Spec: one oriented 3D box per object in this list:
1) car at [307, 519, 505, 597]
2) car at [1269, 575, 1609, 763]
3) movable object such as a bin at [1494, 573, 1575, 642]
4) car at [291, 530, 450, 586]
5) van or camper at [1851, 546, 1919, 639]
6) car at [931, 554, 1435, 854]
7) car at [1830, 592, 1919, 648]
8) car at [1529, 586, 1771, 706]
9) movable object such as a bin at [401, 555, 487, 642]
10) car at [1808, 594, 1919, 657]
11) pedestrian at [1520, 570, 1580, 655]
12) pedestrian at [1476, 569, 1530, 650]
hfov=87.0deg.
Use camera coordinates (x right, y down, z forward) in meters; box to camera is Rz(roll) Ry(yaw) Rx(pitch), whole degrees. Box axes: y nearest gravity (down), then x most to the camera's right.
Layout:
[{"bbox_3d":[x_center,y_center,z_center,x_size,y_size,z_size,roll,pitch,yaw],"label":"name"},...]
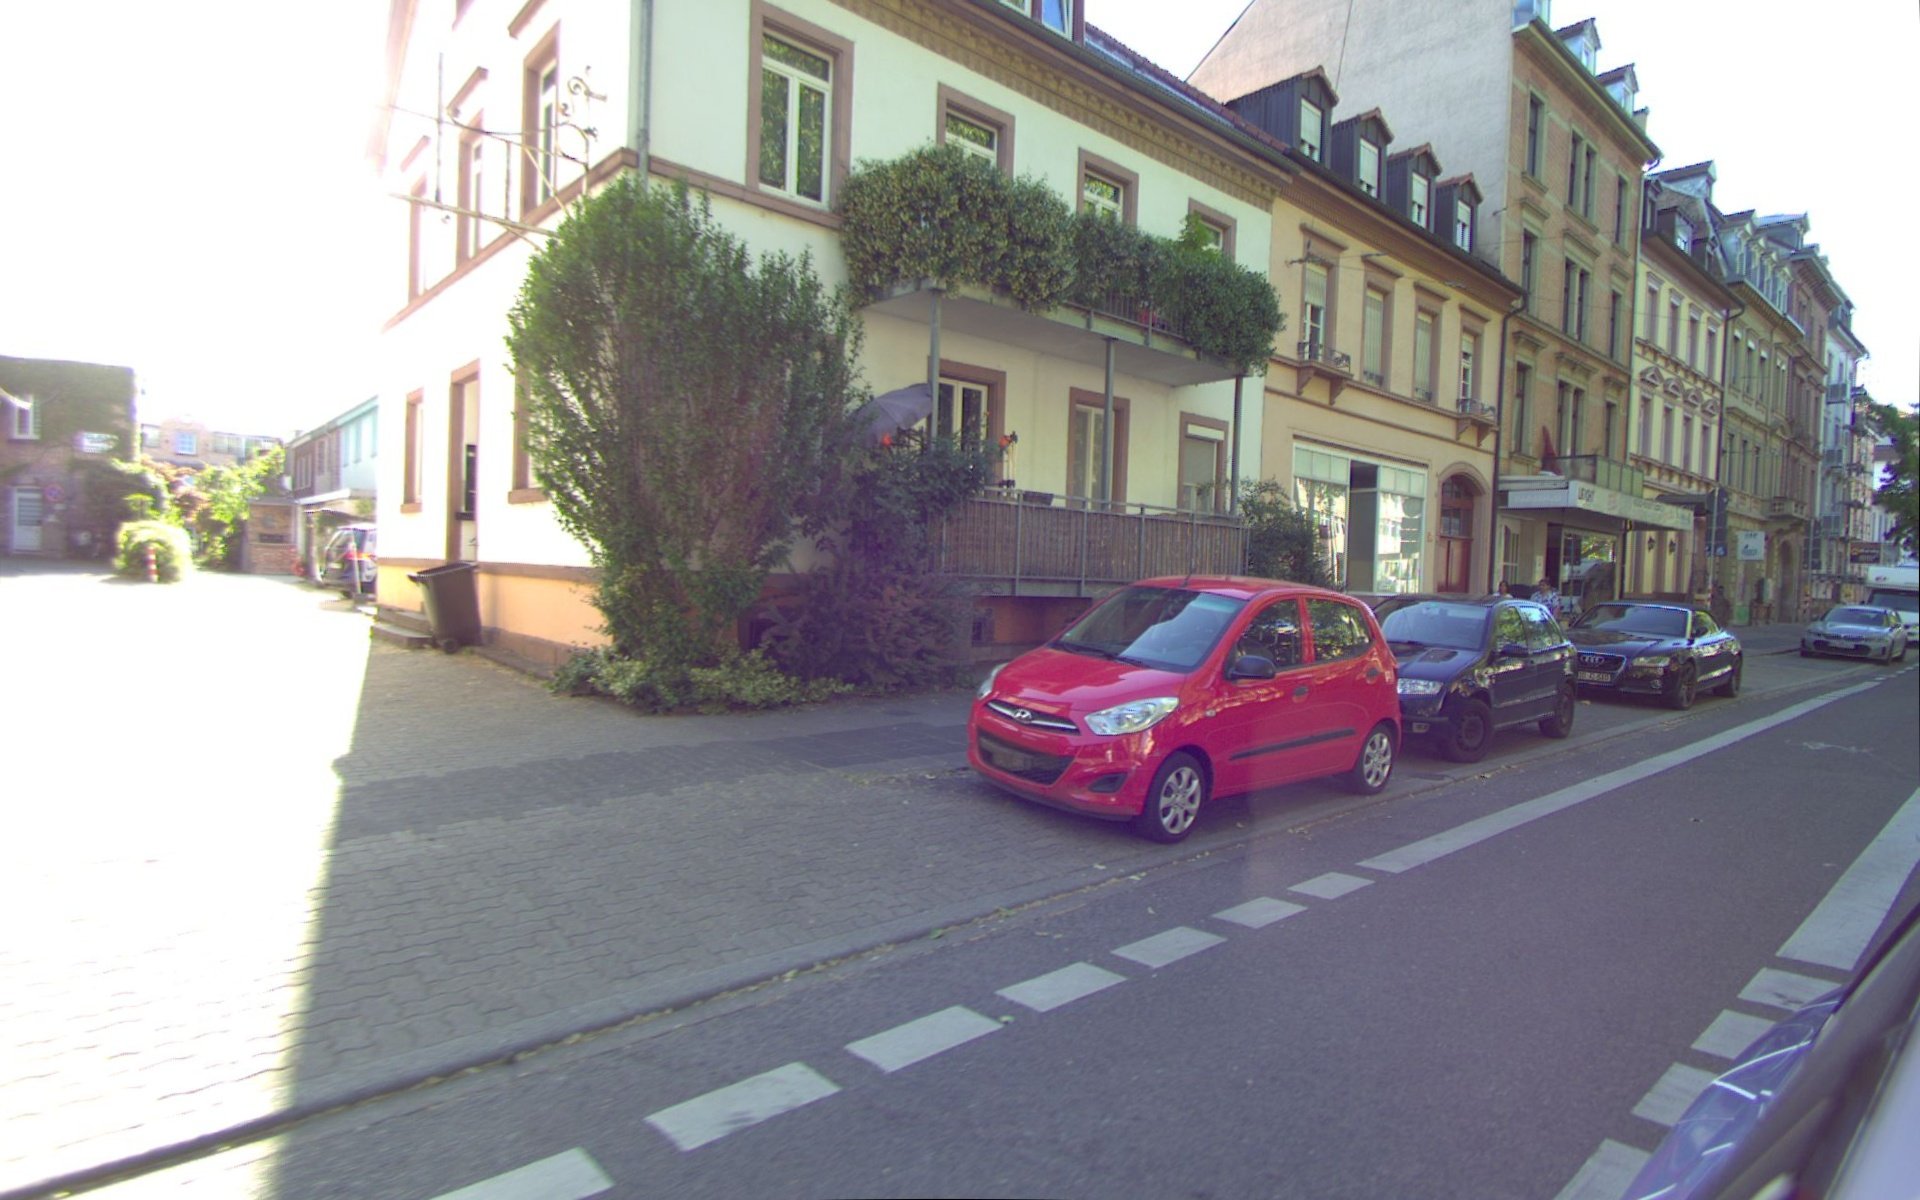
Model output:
[{"bbox_3d":[-12.074,-0.895,22.160,3.514,1.565,1.622,0,4,-42],"label":"car"},{"bbox_3d":[4.933,0.550,10.210,3.800,1.474,1.655,0,4,-41],"label":"car"},{"bbox_3d":[13.690,0.161,24.128,1.264,1.539,1.296,0,2,-41],"label":"movable object such as a bin"},{"bbox_3d":[-15.486,-1.090,26.641,3.388,1.318,1.579,0,4,-40],"label":"car"},{"bbox_3d":[34.901,-0.227,36.671,7.743,3.006,2.485,0,6,-40],"label":"van or camper"},{"bbox_3d":[1.700,0.537,7.202,3.512,1.565,1.639,0,4,-40],"label":"car"},{"bbox_3d":[28.215,0.577,30.991,3.957,1.450,1.650,0,6,-40],"label":"car"},{"bbox_3d":[10.137,0.572,14.734,4.414,1.409,1.698,0,4,-40],"label":"car"},{"bbox_3d":[-6.447,-0.020,12.648,0.781,1.040,0.629,2,1,-43],"label":"movable object such as a bin"},{"bbox_3d":[24.421,0.615,27.172,4.584,1.452,1.814,0,4,-41],"label":"car"},{"bbox_3d":[11.011,0.222,18.873,0.851,1.523,0.661,0,3,-42],"label":"pedestrian"},{"bbox_3d":[10.468,0.168,19.505,0.772,1.501,0.659,0,2,-42],"label":"pedestrian"}]
